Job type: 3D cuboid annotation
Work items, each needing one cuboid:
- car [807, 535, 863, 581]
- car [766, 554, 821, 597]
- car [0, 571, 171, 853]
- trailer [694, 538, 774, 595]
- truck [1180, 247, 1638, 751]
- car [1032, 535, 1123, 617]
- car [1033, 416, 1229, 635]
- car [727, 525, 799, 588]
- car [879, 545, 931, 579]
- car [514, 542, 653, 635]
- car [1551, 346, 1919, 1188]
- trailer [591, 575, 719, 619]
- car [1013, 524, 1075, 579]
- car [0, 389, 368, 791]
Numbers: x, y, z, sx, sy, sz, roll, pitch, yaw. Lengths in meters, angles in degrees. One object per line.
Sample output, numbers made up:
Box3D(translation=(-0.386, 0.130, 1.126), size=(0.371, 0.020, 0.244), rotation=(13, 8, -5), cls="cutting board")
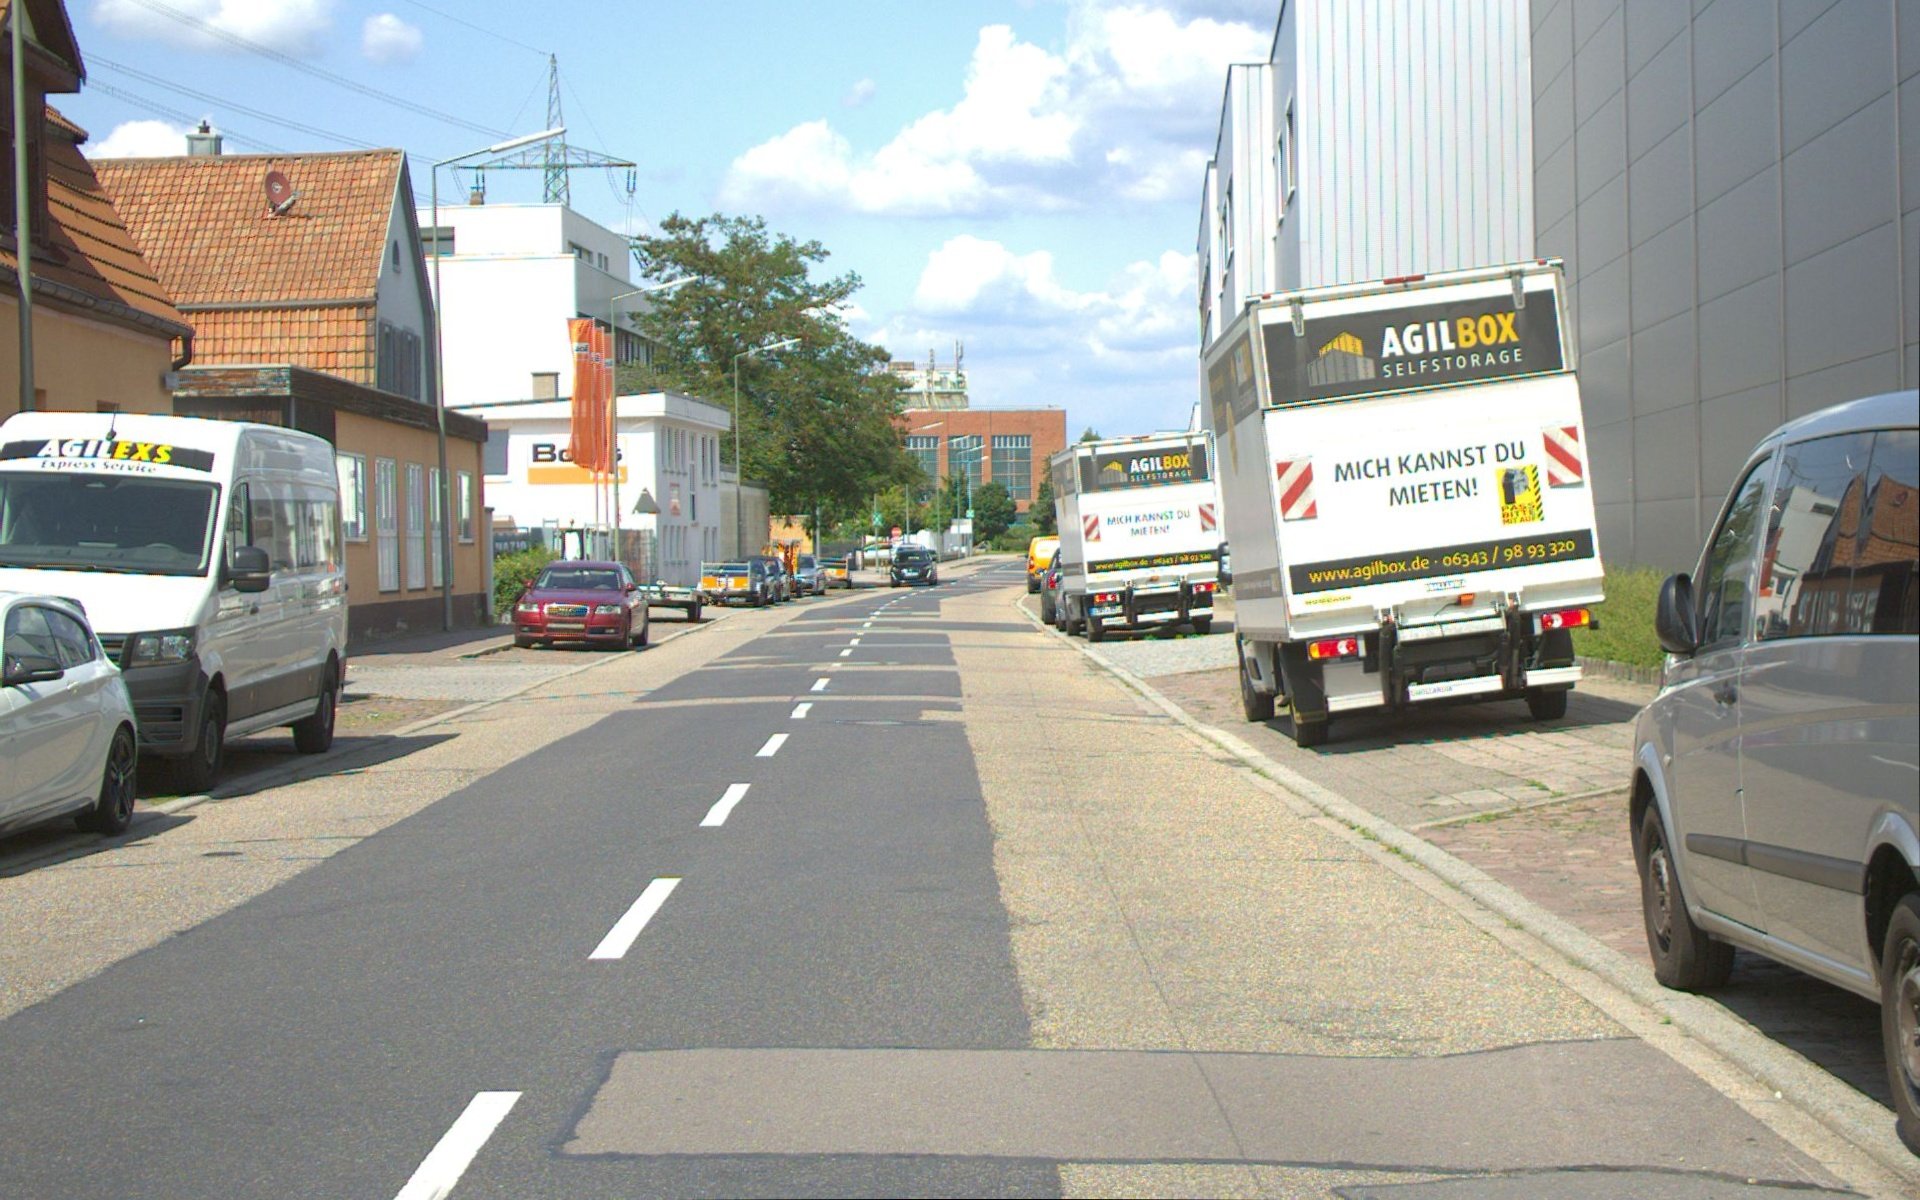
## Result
Box3D(translation=(-4.943, -1.658, 136.062), size=(1.922, 1.788, 4.000), rotation=(1, 0, 2), cls="car")
Box3D(translation=(-5.707, -0.853, 118.112), size=(1.668, 1.442, 3.454), rotation=(1, 0, 0), cls="car")
Box3D(translation=(-5.670, 0.547, 18.384), size=(1.796, 1.392, 4.502), rotation=(1, 1, 1), cls="car")
Box3D(translation=(-6.357, -0.950, 96.992), size=(1.993, 1.551, 4.254), rotation=(-1, 1, 0), cls="trailer")
Box3D(translation=(3.342, -0.747, 27.335), size=(2.458, 3.282, 6.818), rotation=(-6, 1, 0), cls="truck")
Box3D(translation=(2.401, -0.498, 70.966), size=(1.768, 1.607, 3.873), rotation=(-1, 0, 1), cls="car")
Box3D(translation=(2.821, -1.227, 58.525), size=(2.388, 3.351, 6.646), rotation=(-4, 1, -3), cls="car")
Box3D(translation=(-6.430, -1.430, 112.598), size=(1.993, 2.007, 4.000), rotation=(1, 0, 2), cls="car")
Box3D(translation=(-2.156, -1.496, 136.074), size=(1.918, 1.280, 3.615), rotation=(-2, 1, 1), cls="car")
Box3D(translation=(-6.224, -0.206, 57.226), size=(1.762, 1.442, 4.741), rotation=(1, 0, 0), cls="car")
Box3D(translation=(3.162, 0.282, 9.610), size=(2.054, 1.897, 5.147), rotation=(-5, 1, 1), cls="car")
Box3D(translation=(-6.686, -0.091, 75.929), size=(2.362, 0.890, 5.569), rotation=(1, 1, 0), cls="trailer")
Box3D(translation=(2.783, -1.584, 113.088), size=(1.940, 1.736, 4.376), rotation=(-1, 1, 2), cls="car")
Box3D(translation=(-5.907, -0.098, 25.375), size=(2.026, 2.552, 6.840), rotation=(1, 0, -1), cls="car")
